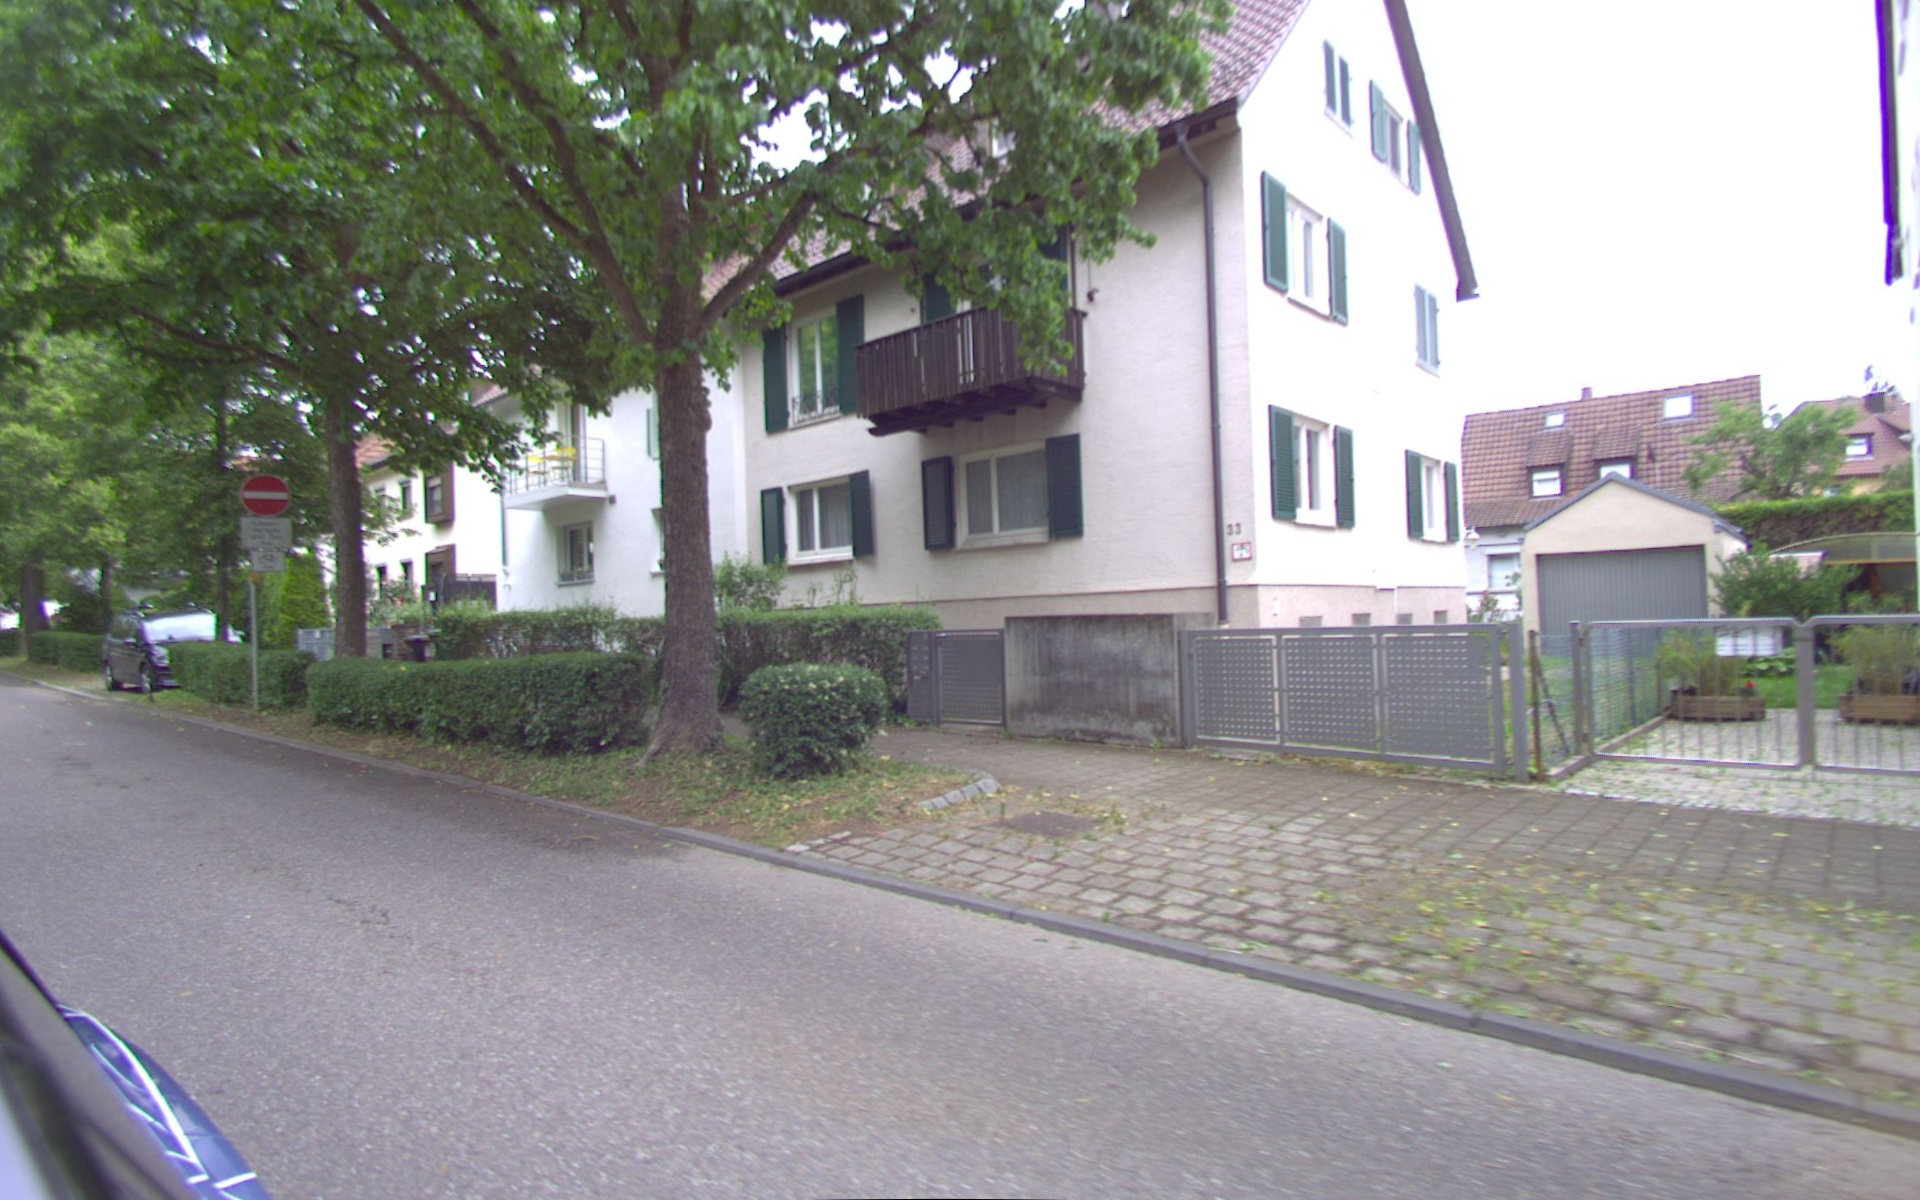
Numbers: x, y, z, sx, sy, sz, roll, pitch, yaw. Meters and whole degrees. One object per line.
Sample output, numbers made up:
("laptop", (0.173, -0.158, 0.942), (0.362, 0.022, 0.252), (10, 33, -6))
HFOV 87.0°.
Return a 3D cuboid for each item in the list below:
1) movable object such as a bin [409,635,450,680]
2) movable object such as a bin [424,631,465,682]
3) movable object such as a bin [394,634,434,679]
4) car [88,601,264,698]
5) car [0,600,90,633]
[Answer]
("movable object such as a bin", (-11.361, 1.222, 21.684), (0.639, 0.947, 0.554), (-1, -2, 36))
("movable object such as a bin", (-10.836, 1.174, 21.286), (0.600, 1.033, 0.554), (-1, -2, 36))
("movable object such as a bin", (-11.911, 1.227, 22.074), (0.639, 0.947, 0.554), (-1, -2, 36))
("car", (-16.183, 0.962, 20.818), (4.447, 1.767, 1.808), (-1, 0, 38))
("car", (-69.478, 1.227, 75.861), (1.961, 2.365, 6.331), (-1, -1, 19))
